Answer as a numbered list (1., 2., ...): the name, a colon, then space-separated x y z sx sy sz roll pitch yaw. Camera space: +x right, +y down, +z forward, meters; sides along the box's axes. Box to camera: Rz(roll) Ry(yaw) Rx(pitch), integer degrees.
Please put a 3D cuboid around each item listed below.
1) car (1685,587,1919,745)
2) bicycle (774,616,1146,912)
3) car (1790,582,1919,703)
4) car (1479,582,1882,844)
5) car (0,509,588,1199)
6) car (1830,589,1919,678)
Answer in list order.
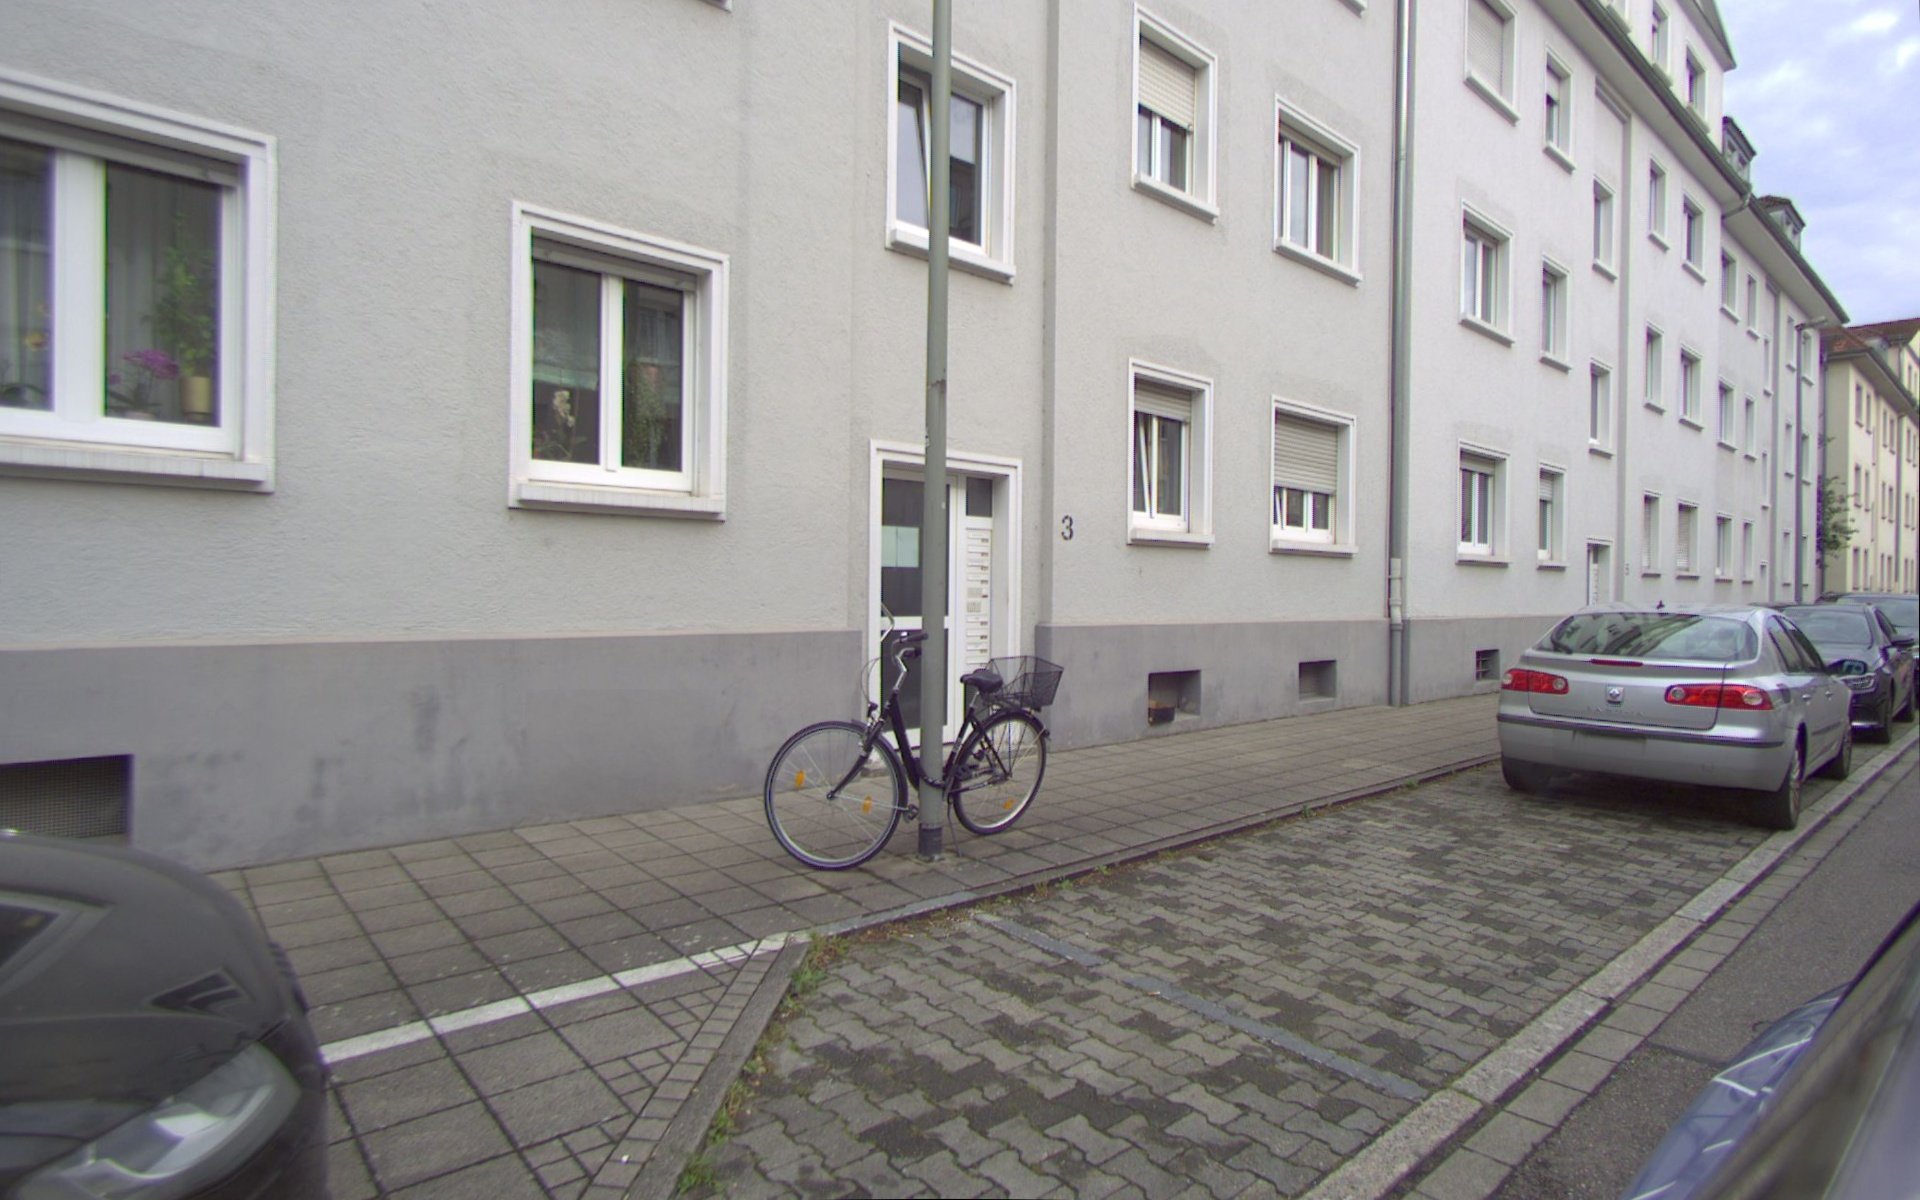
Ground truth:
1. car: 10.056 0.633 11.813 4.250 1.481 1.784 0 1 -43
2. bicycle: 0.061 0.718 5.230 1.862 1.215 0.750 1 2 -42
3. car: 14.121 0.575 15.332 4.090 1.619 1.850 0 1 -43
4. car: 5.817 0.645 7.933 4.356 1.481 1.734 0 1 -43
5. car: -2.842 0.617 0.490 4.646 1.481 1.863 0 2 -43
6. car: 17.662 0.582 18.838 3.691 1.505 1.735 0 1 -42
